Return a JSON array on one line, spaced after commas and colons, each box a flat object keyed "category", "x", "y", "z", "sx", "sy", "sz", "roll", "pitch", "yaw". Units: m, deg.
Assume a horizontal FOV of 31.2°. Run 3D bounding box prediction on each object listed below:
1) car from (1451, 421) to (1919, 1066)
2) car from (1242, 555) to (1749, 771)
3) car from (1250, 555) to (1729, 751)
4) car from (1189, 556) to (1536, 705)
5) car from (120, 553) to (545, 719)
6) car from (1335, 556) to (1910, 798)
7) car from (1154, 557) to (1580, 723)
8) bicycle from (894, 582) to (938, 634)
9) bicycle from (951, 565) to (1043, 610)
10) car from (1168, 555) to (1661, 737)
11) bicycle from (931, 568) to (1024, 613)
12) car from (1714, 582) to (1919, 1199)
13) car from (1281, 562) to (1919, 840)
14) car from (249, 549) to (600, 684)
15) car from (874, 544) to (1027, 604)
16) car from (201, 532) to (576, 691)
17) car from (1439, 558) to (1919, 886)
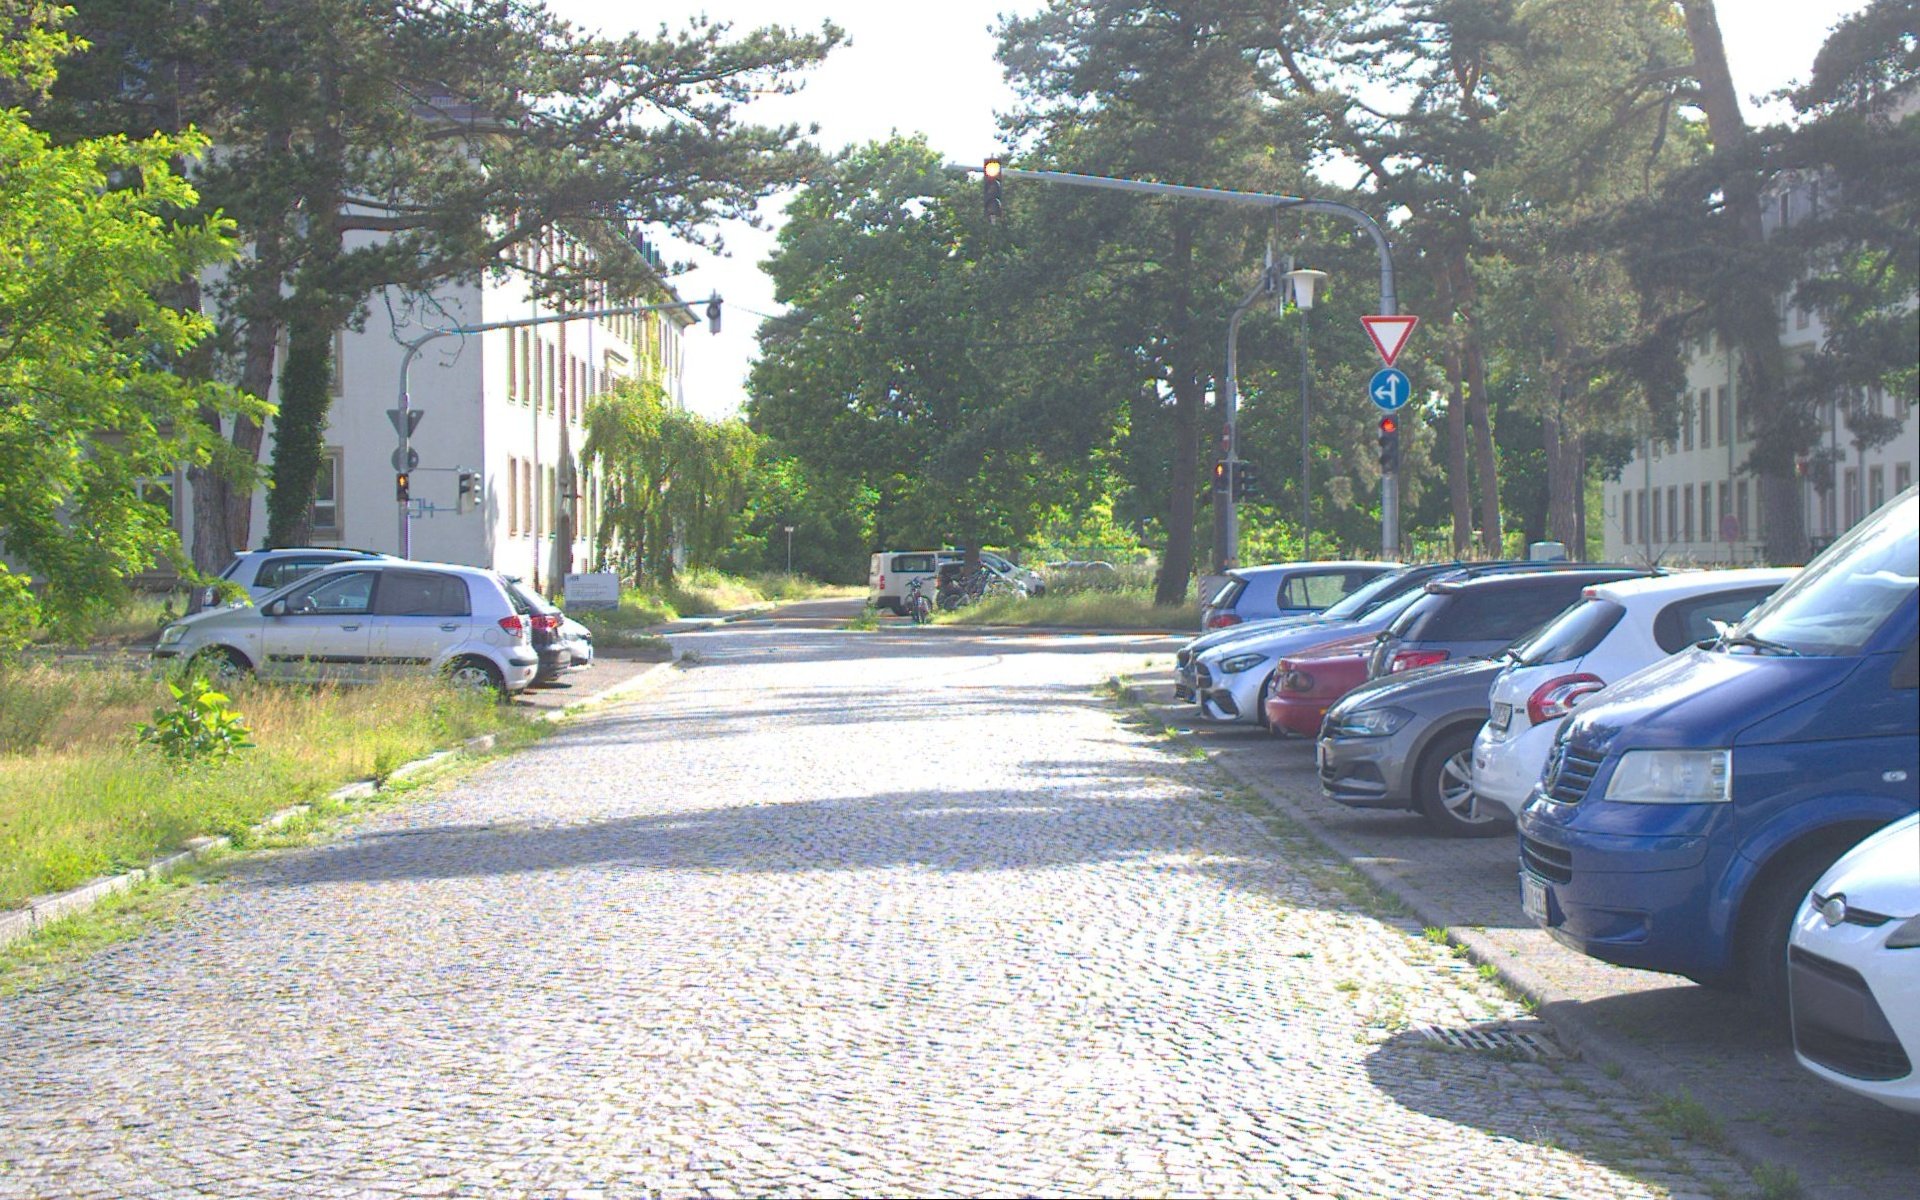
[{"category": "car", "x": 4.224, "y": 0.419, "z": 11.887, "sx": 4.676, "sy": 2.007, "sz": 2.084, "roll": 0, "pitch": 1, "yaw": -3}, {"category": "car", "x": 3.929, "y": 0.441, "z": 25.565, "sx": 3.478, "sy": 1.524, "sz": 1.645, "roll": 0, "pitch": 1, "yaw": -2}, {"category": "car", "x": 4.245, "y": 0.407, "z": 27.923, "sx": 3.602, "sy": 1.524, "sz": 1.645, "roll": 0, "pitch": 1, "yaw": -2}, {"category": "car", "x": 4.119, "y": 0.300, "z": 35.516, "sx": 3.343, "sy": 1.477, "sz": 1.645, "roll": 0, "pitch": 1, "yaw": -2}, {"category": "car", "x": -6.266, "y": 0.338, "z": 34.719, "sx": 3.986, "sy": 1.595, "sz": 2.000, "roll": 0, "pitch": 1, "yaw": -3}, {"category": "car", "x": 4.343, "y": 0.480, "z": 22.874, "sx": 3.478, "sy": 1.524, "sz": 1.645, "roll": 0, "pitch": 1, "yaw": -2}, {"category": "car", "x": 3.847, "y": 0.361, "z": 32.876, "sx": 3.835, "sy": 1.524, "sz": 1.645, "roll": 0, "pitch": 1, "yaw": -2}, {"category": "bicycle", "x": -1.041, "y": 0.187, "z": 81.043, "sx": 0.804, "sy": 1.165, "sz": 2.181, "roll": -2, "pitch": 1, "yaw": -6}, {"category": "bicycle", "x": 0.919, "y": -0.321, "z": 85.762, "sx": 2.172, "sy": 1.096, "sz": 0.807, "roll": 0, "pitch": 1, "yaw": -10}, {"category": "car", "x": 3.931, "y": 0.377, "z": 30.104, "sx": 4.033, "sy": 1.524, "sz": 1.646, "roll": 0, "pitch": 1, "yaw": -4}, {"category": "bicycle", "x": 0.420, "y": -0.230, "z": 84.503, "sx": 2.172, "sy": 1.096, "sz": 0.807, "roll": 0, "pitch": 1, "yaw": -10}, {"category": "car", "x": 4.088, "y": 0.681, "z": 9.211, "sx": 3.718, "sy": 1.483, "sz": 1.646, "roll": -1, "pitch": 1, "yaw": -3}, {"category": "car", "x": 3.809, "y": 0.554, "z": 19.954, "sx": 3.675, "sy": 1.462, "sz": 1.645, "roll": -1, "pitch": 1, "yaw": -2}, {"category": "car", "x": -6.569, "y": 0.188, "z": 42.508, "sx": 3.987, "sy": 1.448, "sz": 2.000, "roll": 3, "pitch": 1, "yaw": -1}, {"category": "car", "x": -0.289, "y": -0.770, "z": 101.970, "sx": 4.480, "sy": 1.722, "sz": 2.000, "roll": 0, "pitch": 1, "yaw": -1}, {"category": "car", "x": -6.612, "y": 0.120, "z": 40.106, "sx": 3.987, "sy": 1.596, "sz": 2.000, "roll": 3, "pitch": 1, "yaw": -1}, {"category": "car", "x": 4.360, "y": 0.545, "z": 17.067, "sx": 3.694, "sy": 1.461, "sz": 1.645, "roll": -2, "pitch": 1, "yaw": 0}]
